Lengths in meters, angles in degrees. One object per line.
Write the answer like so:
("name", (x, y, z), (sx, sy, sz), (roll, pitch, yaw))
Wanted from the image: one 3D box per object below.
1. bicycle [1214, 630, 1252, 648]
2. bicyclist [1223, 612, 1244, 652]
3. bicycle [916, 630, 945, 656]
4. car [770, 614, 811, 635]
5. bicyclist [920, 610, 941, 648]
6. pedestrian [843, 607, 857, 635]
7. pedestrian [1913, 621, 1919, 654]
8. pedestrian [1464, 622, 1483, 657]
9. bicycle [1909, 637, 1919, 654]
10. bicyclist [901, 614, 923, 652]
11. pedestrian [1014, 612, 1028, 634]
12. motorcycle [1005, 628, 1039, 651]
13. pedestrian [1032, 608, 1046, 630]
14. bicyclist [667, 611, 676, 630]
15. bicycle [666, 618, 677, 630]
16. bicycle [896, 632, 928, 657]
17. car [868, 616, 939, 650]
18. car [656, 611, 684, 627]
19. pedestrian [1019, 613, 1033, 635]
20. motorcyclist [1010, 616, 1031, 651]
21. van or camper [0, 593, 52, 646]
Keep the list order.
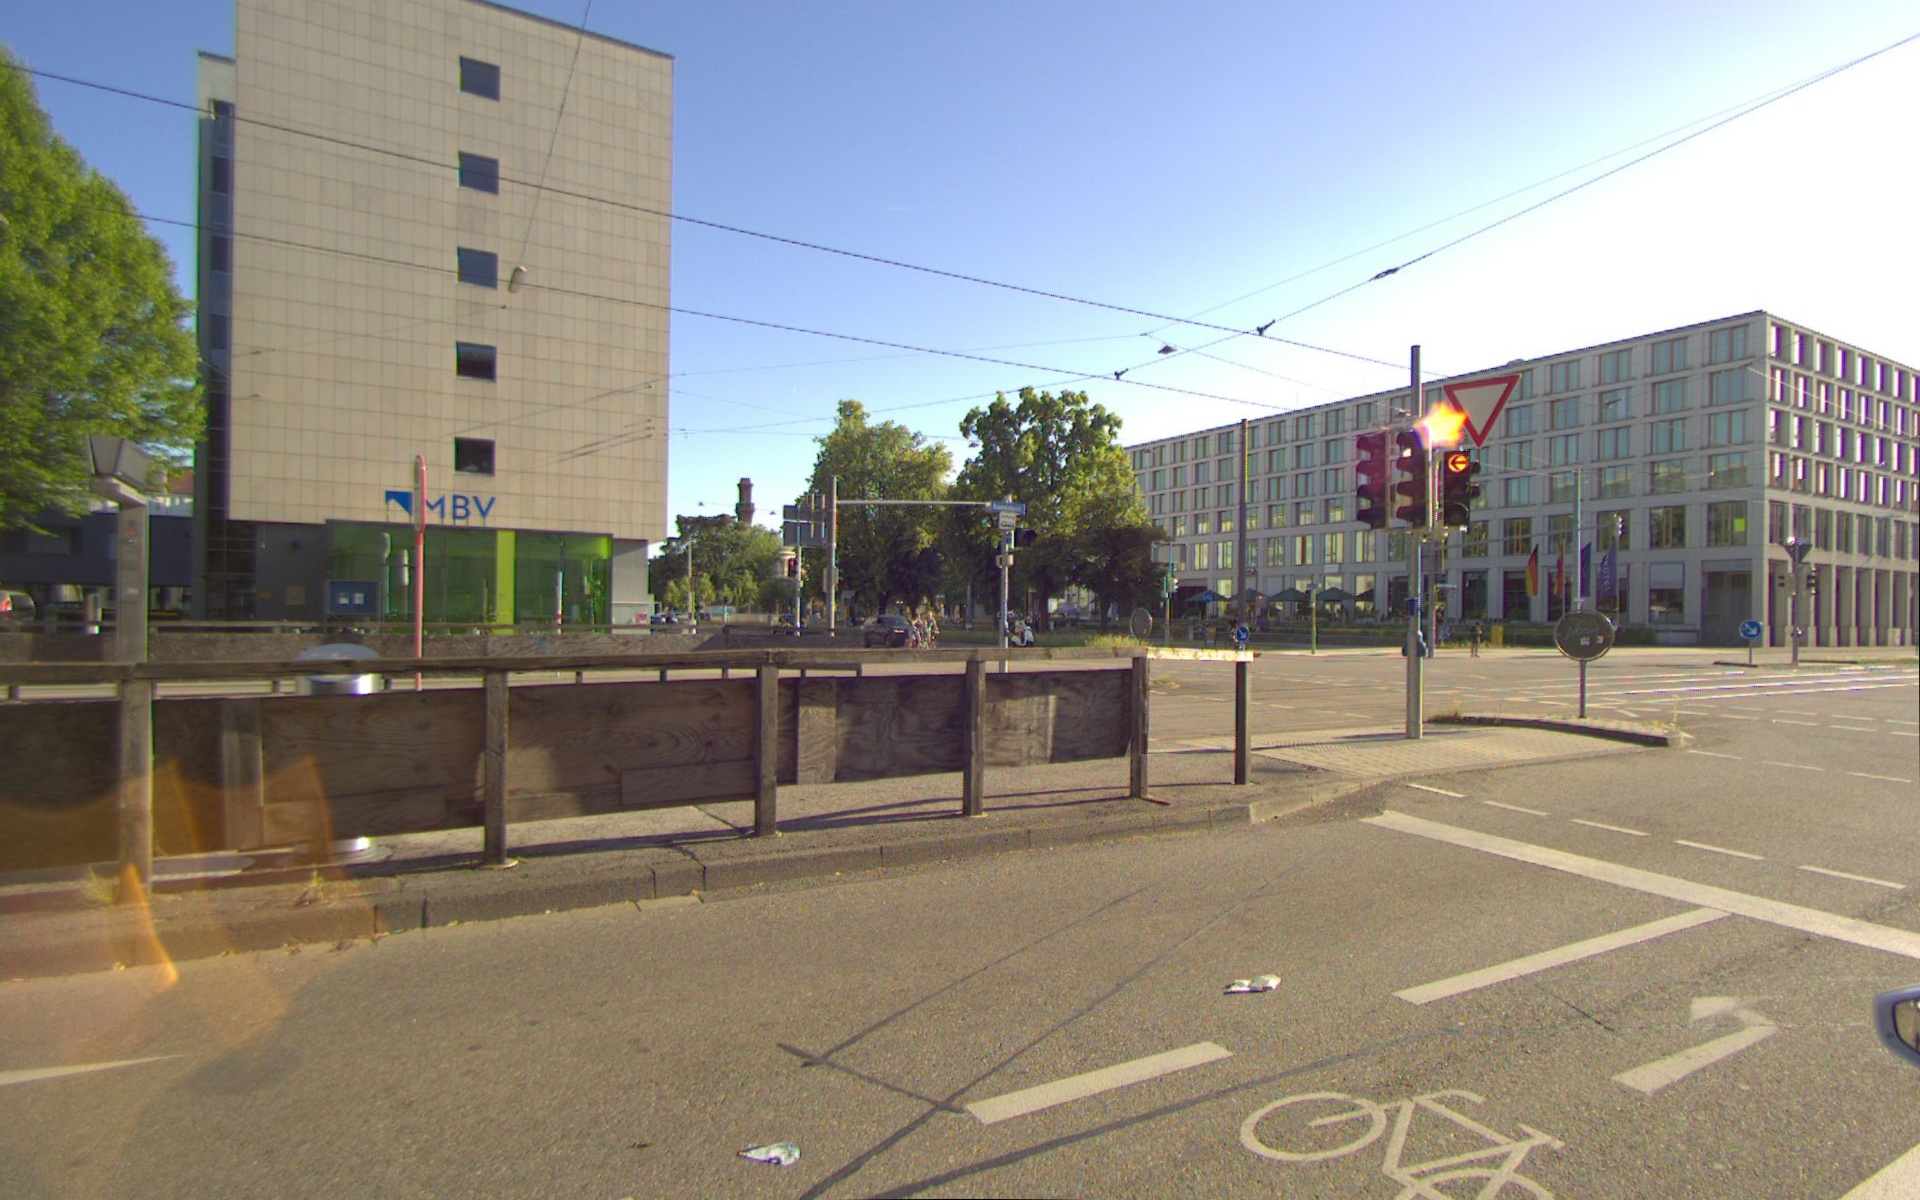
("bicycle", (12.451, 1.792, 45.739), (1.831, 0.798, 0.532), (1, -1, -31))
("bicyclist", (12.472, 1.457, 45.748), (0.762, 1.784, 0.532), (1, -1, -30))
("bicycle", (-1.247, 1.799, 42.394), (0.576, 1.032, 1.666), (1, -1, -27))
("car", (-12.633, 1.829, 74.603), (1.674, 1.506, 3.719), (1, -1, -33))
("bicyclist", (-1.252, 1.231, 42.431), (0.576, 1.563, 0.890), (1, -1, -27))
("pedestrian", (-8.136, 1.573, 74.149), (0.772, 2.040, 0.747), (1, -1, -31))
("pedestrian", (46.927, 1.820, 48.880), (0.735, 1.616, 0.570), (1, -1, -26))
("pedestrian", (25.026, 1.907, 48.954), (0.597, 1.703, 0.602), (1, -1, -22))
("bicycle", (46.959, 2.216, 48.889), (1.695, 0.834, 0.570), (1, -1, -26))
("bicyclist", (-2.013, 1.380, 42.028), (0.577, 1.563, 0.833), (1, -2, -32))
("pedestrian", (5.080, 1.903, 83.238), (0.858, 1.738, 0.737), (2, 0, -26))
("motorcycle", (2.867, 1.831, 46.968), (0.624, 1.030, 1.972), (-3, 1, -28))
("pedestrian", (6.275, 1.514, 79.671), (0.858, 1.738, 0.737), (2, 0, -26))
("bicyclist", (-25.963, 1.826, 90.404), (0.576, 1.658, 0.890), (1, -1, -27))
("bicycle", (-25.982, 2.138, 90.443), (0.576, 1.032, 1.666), (1, -1, -27))
("bicycle", (-2.018, 1.858, 42.032), (0.577, 1.032, 1.806), (1, -3, -31))
("car", (-2.824, 1.608, 49.147), (1.925, 1.561, 3.969), (2, -2, -29))
("car", (-30.304, 1.972, 104.726), (1.975, 1.472, 4.179), (2, 0, -28))
("pedestrian", (5.218, 1.889, 79.477), (0.858, 1.738, 0.737), (2, 0, -26))
("motorcyclist", (2.826, 1.550, 46.999), (0.624, 1.601, 0.812), (-3, 1, -28))
("van or camper", (-27.868, 0.450, 27.577), (3.954, 1.425, 1.954), (4, -3, -30))
